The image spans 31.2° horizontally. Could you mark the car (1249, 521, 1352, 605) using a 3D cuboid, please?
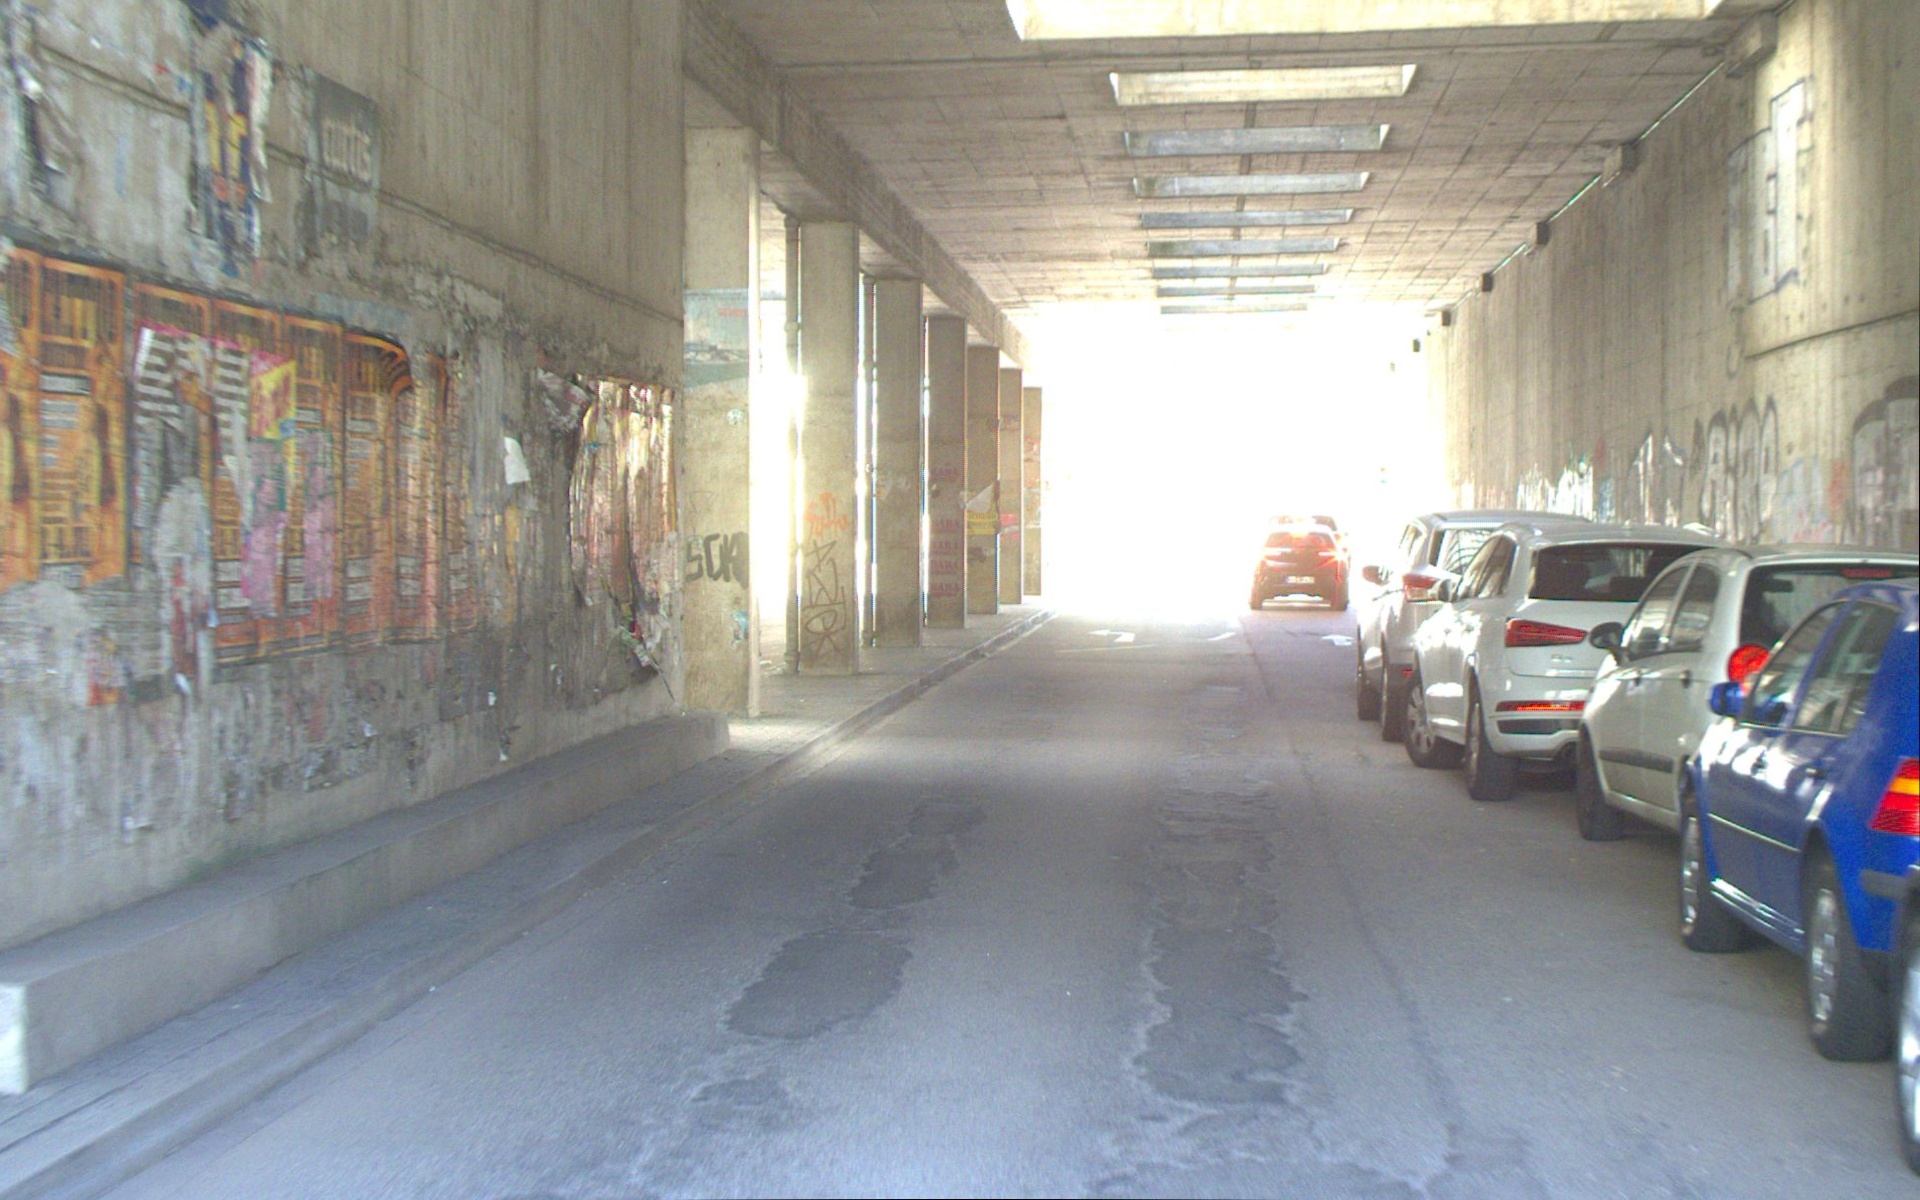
[{"bbox_3d":[6.305,-0.713,63.941,1.826,1.496,4.210,0,1,5],"label":"car"}]

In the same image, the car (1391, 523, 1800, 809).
[{"bbox_3d":[3.688,0.332,20.630,1.729,1.541,4.156,0,1,1],"label":"car"}]

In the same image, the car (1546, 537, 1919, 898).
[{"bbox_3d":[3.855,0.462,15.954,1.603,1.482,3.638,0,1,-1],"label":"car"}]

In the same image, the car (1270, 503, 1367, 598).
[{"bbox_3d":[7.270,-1.025,70.037,1.815,1.876,4.585,0,1,4],"label":"car"}]

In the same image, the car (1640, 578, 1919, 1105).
[{"bbox_3d":[3.424,0.643,11.298,1.761,1.406,4.063,0,1,3],"label":"car"}]

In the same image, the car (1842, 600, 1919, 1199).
[{"bbox_3d":[3.009,0.772,6.517,1.852,1.428,4.606,2,1,6],"label":"car"}]

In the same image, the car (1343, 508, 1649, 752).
[{"bbox_3d":[3.966,0.149,26.086,1.853,1.660,4.371,1,2,3],"label":"car"}]

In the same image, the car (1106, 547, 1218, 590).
[{"bbox_3d":[7.462,-1.172,127.080,3.988,1.568,1.639,0,1,8],"label":"car"}]
